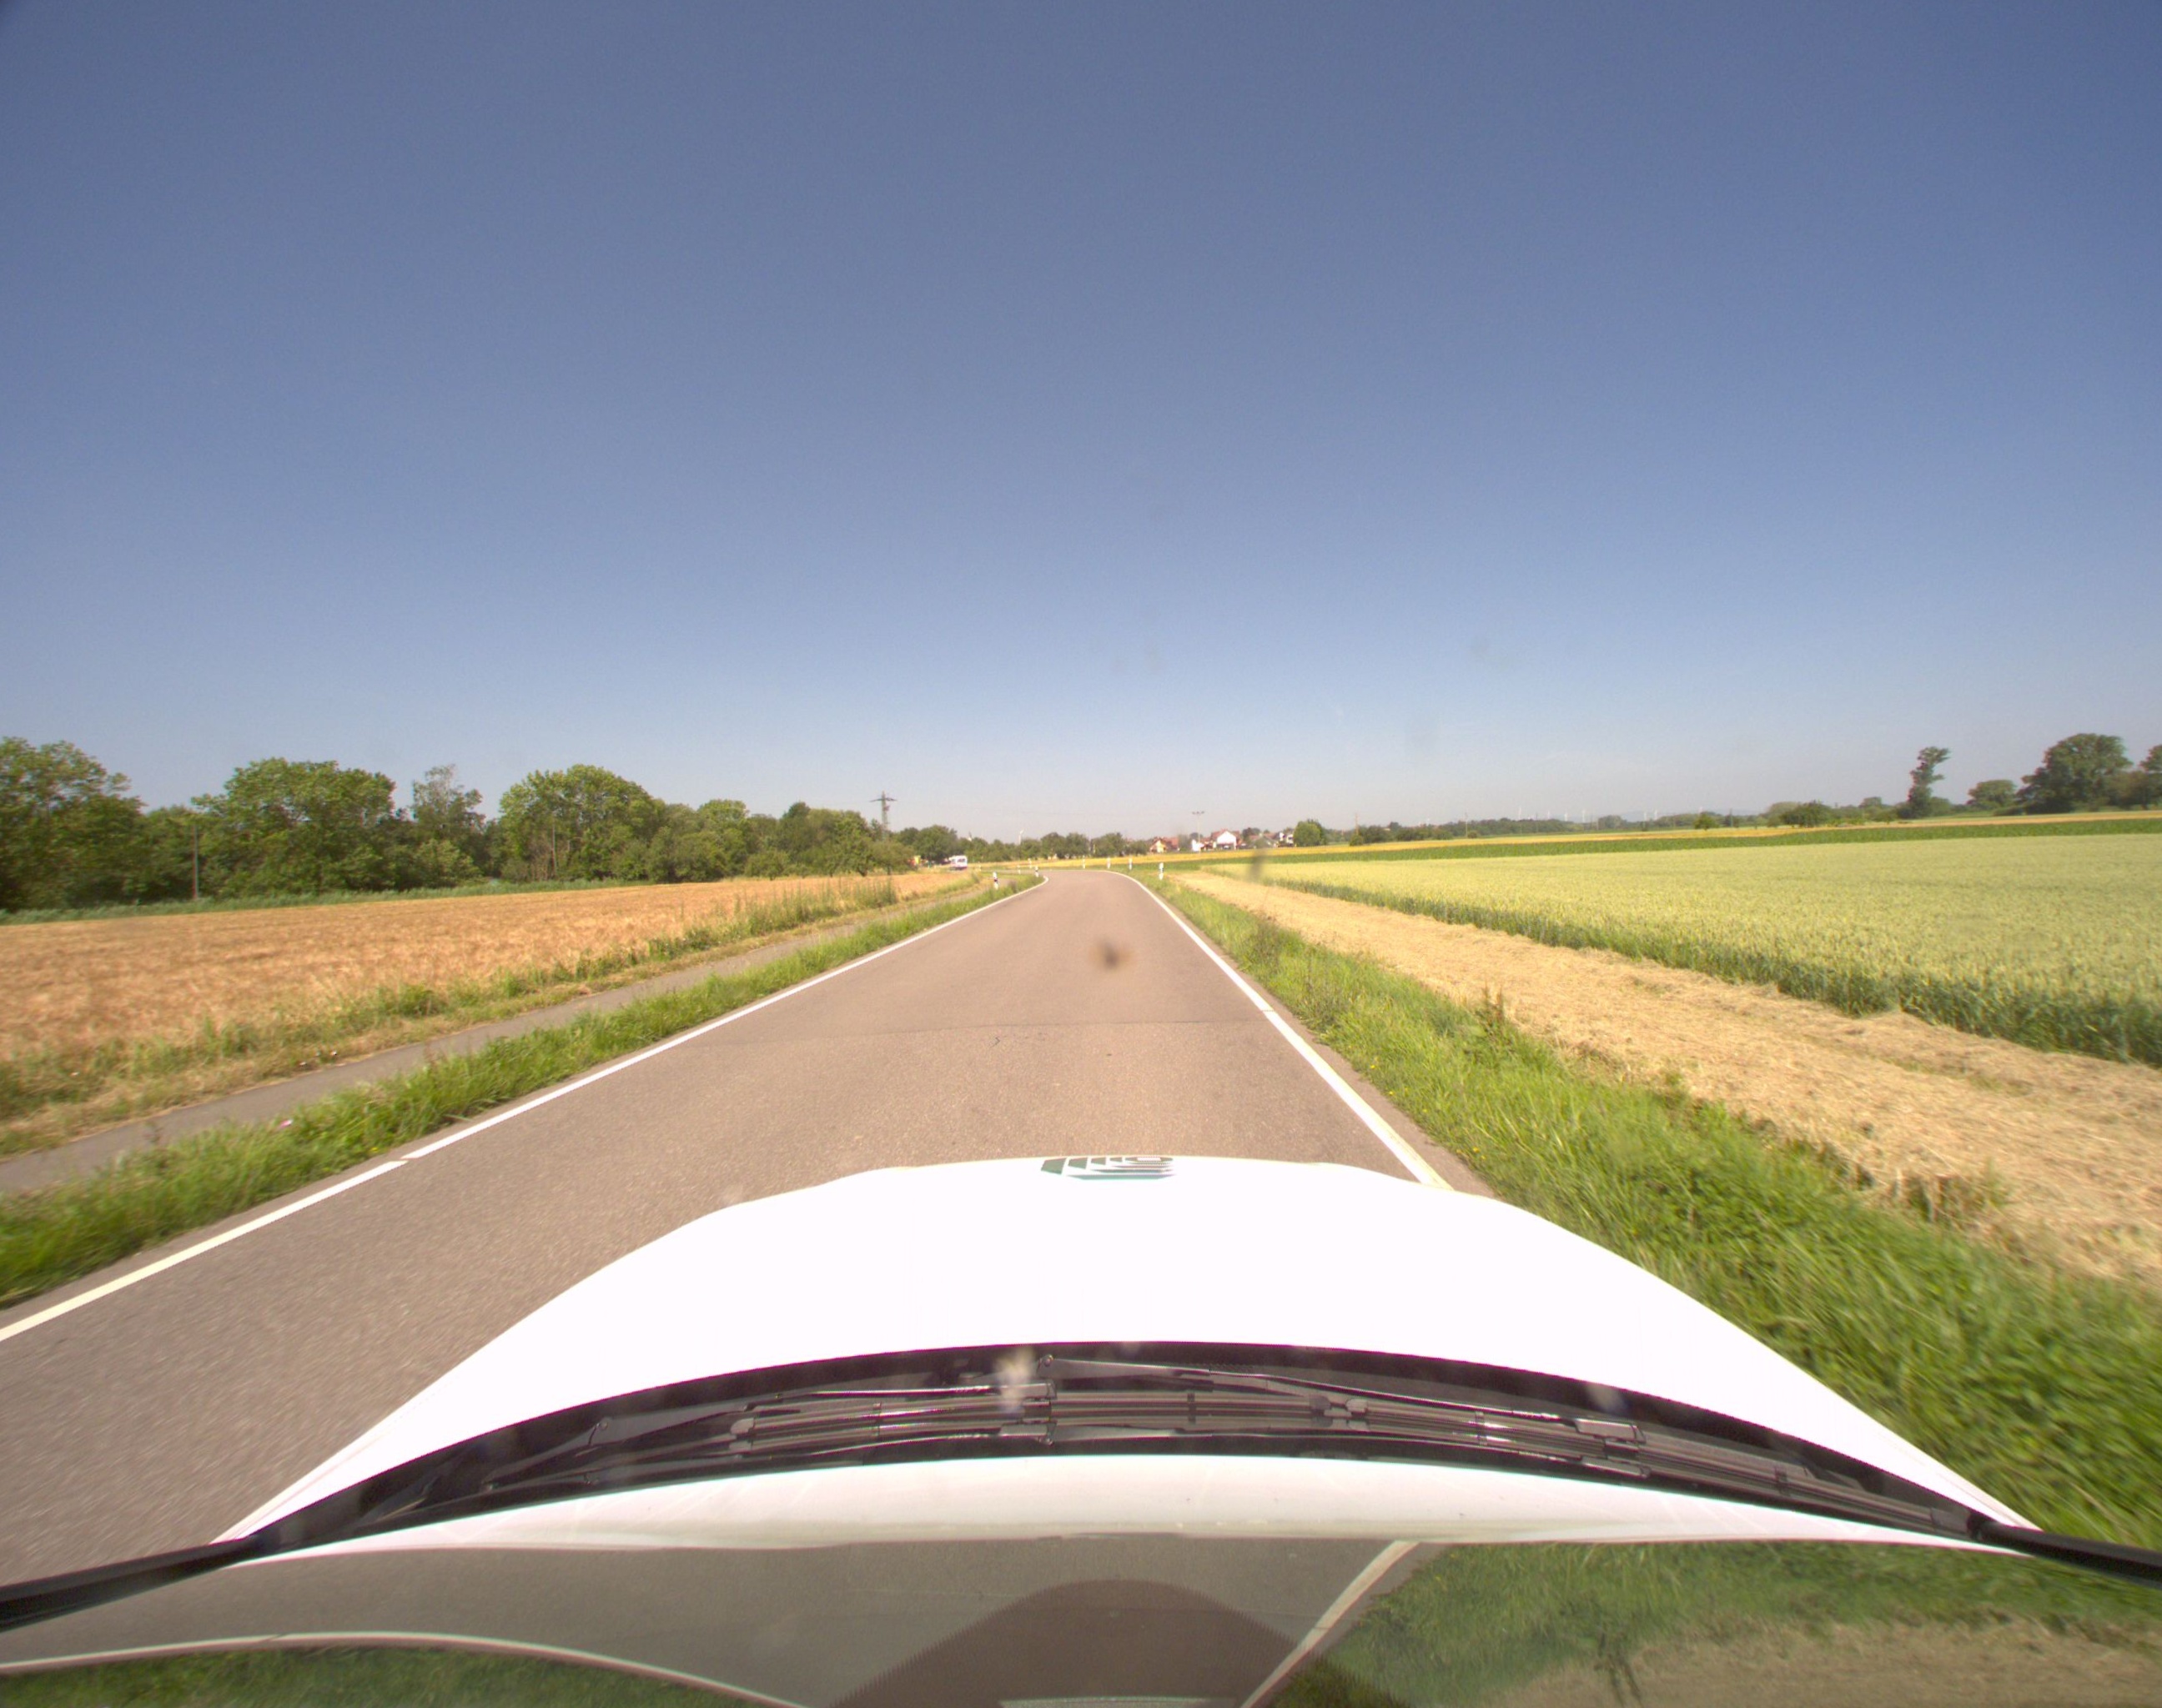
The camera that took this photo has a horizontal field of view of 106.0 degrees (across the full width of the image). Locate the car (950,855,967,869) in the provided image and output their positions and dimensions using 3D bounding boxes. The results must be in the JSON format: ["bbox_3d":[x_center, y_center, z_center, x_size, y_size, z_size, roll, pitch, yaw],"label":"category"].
[{"bbox_3d":[-21.136,1.363,140.253,2.000,2.266,4.694,-3,0,-20],"label":"car"}]
